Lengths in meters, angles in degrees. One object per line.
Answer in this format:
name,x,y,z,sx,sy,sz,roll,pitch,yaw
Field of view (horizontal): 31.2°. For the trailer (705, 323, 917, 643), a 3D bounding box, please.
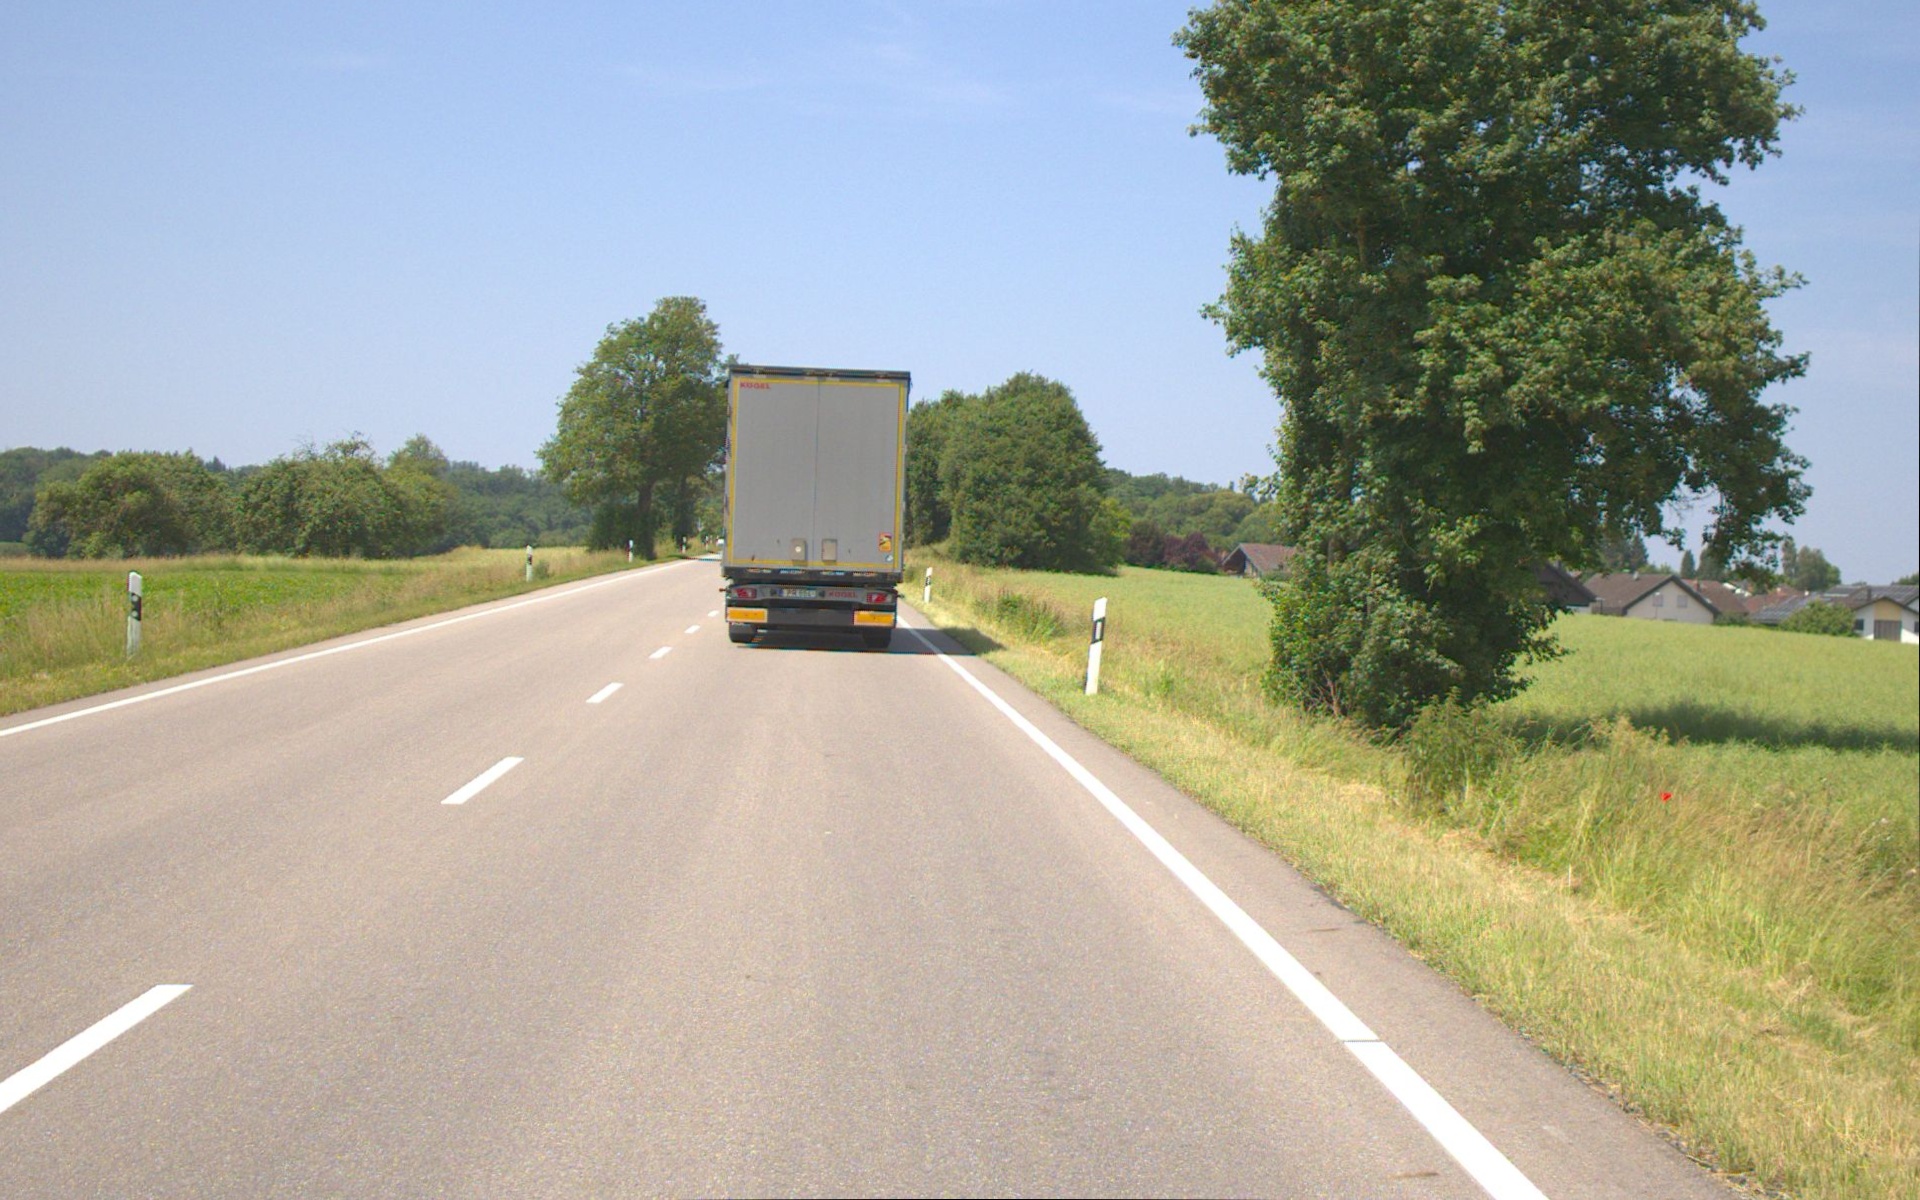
trailer,-2.553,-1.776,54.710,2.866,4.385,13.495,1,1,-4
